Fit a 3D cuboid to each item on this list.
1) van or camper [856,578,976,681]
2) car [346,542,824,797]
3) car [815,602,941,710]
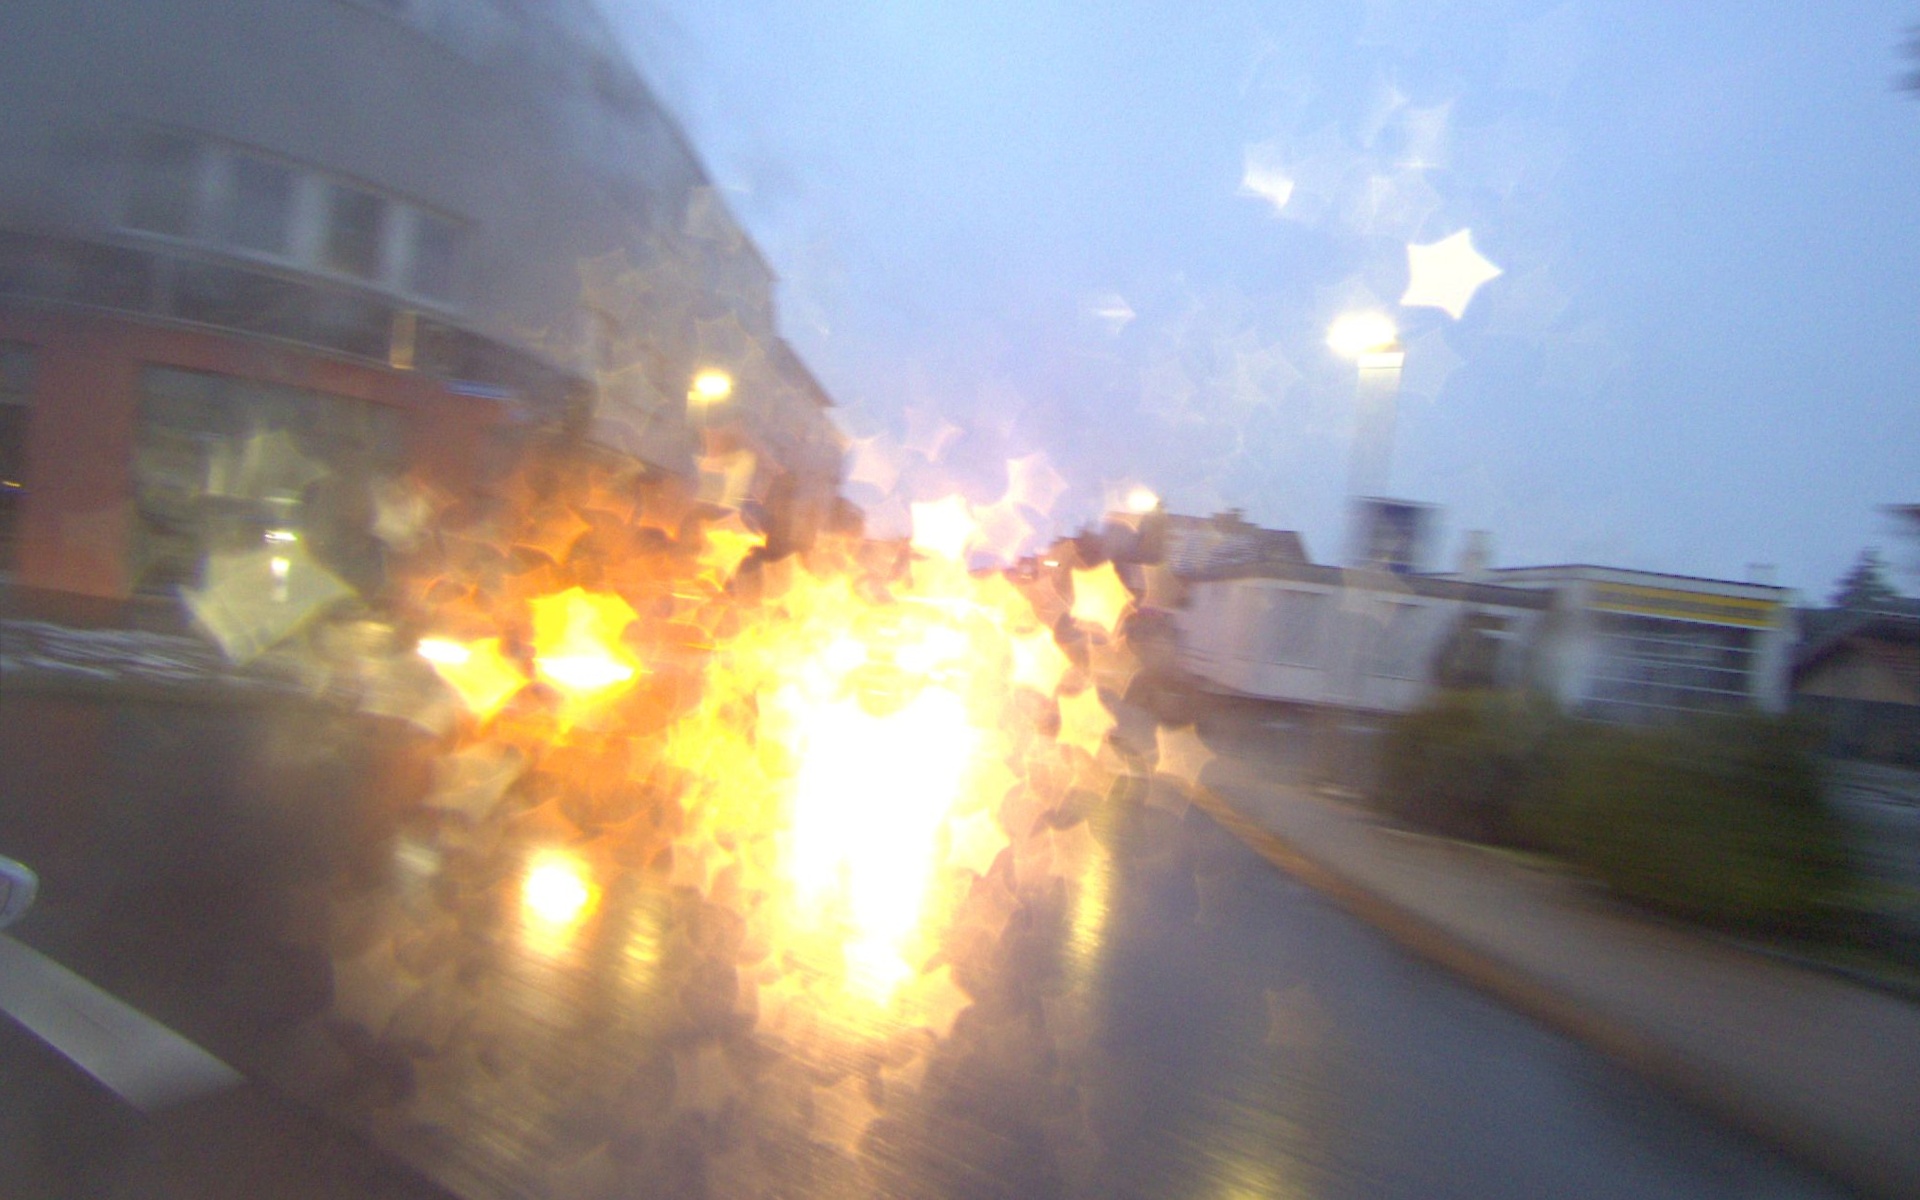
[{"bbox_3d":[-1.093,0.946,31.331,2.409,2.358,9.196,9,-1,4],"label":"van or camper"},{"bbox_3d":[-2.843,0.575,8.803,1.763,1.457,4.190,8,-2,13],"label":"car"},{"bbox_3d":[-1.601,1.163,21.276,2.009,1.808,4.135,7,-2,2],"label":"car"}]
